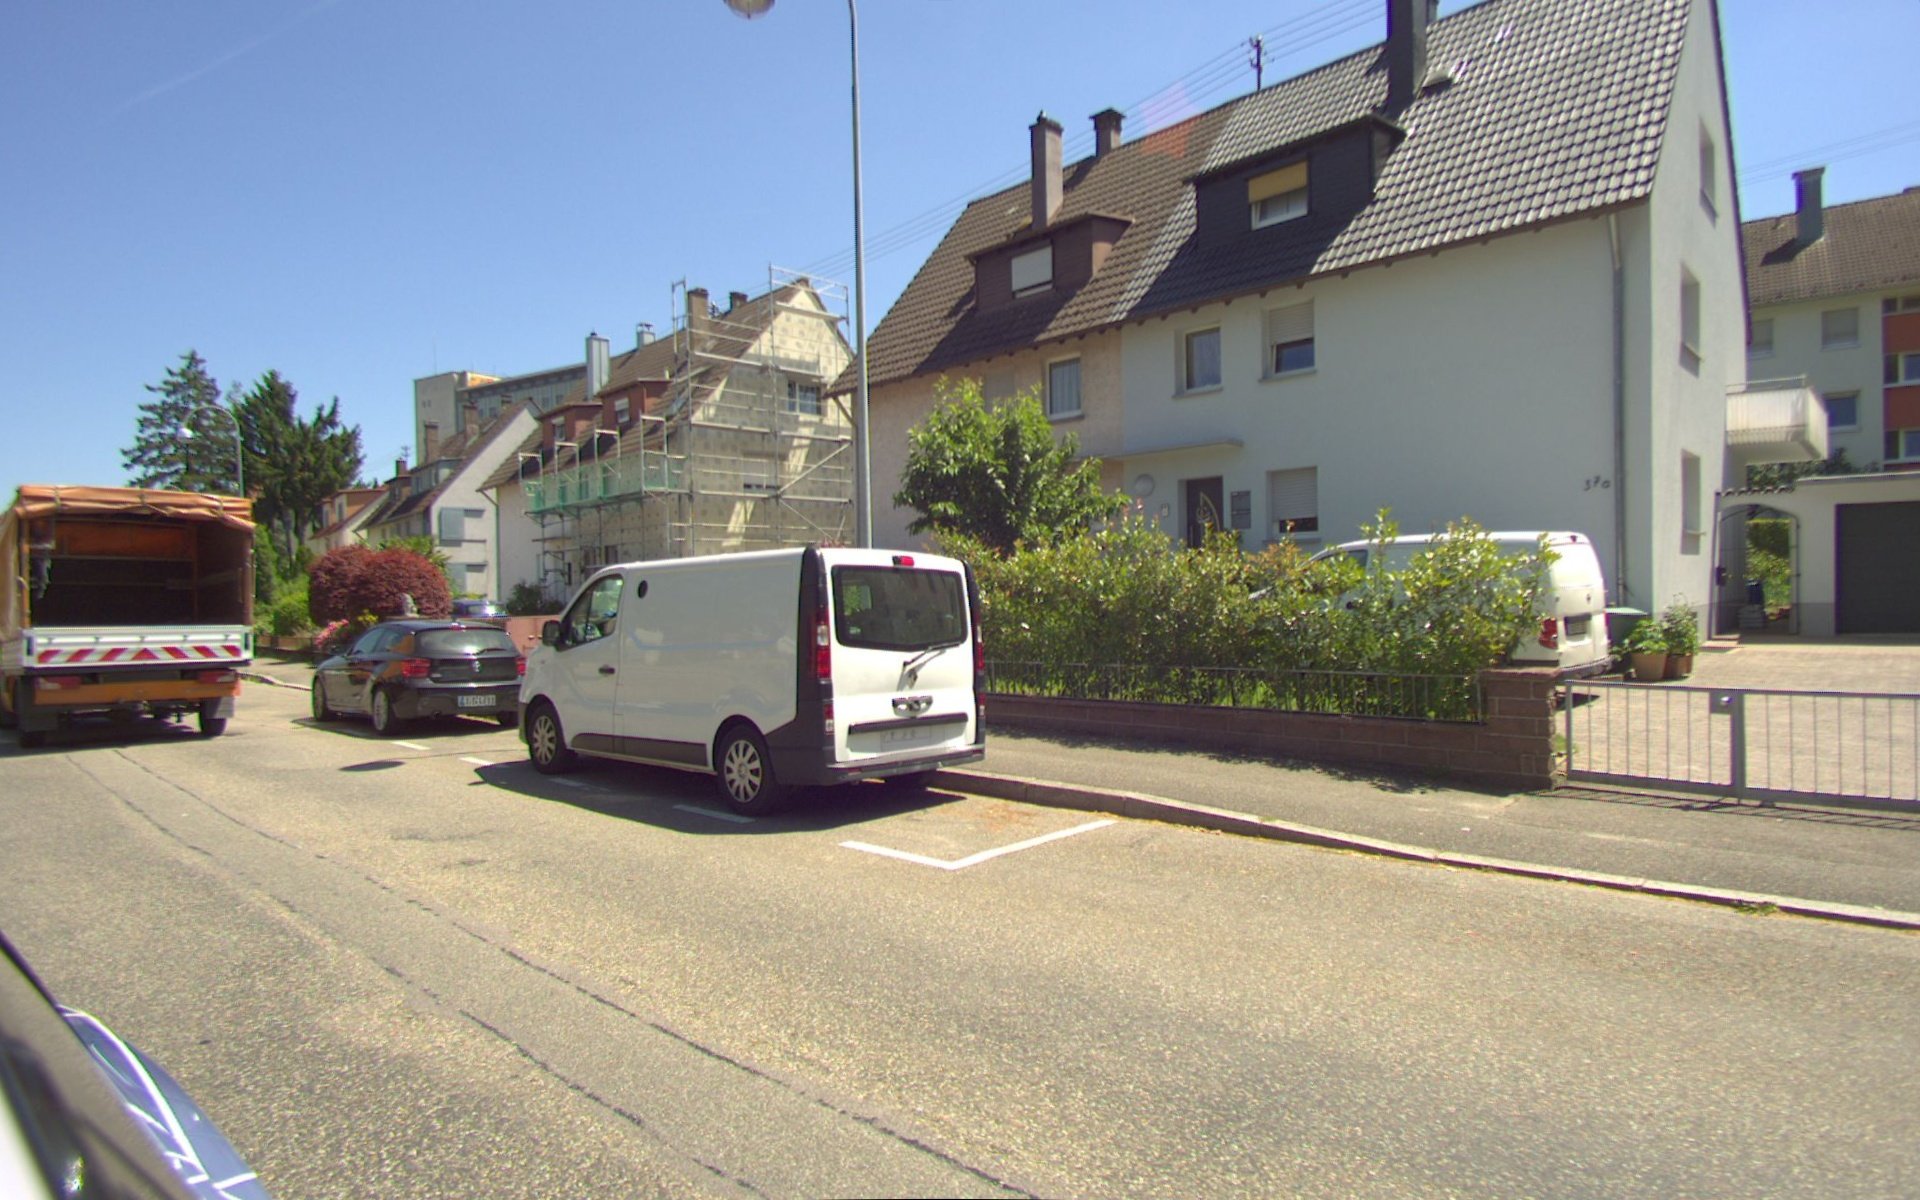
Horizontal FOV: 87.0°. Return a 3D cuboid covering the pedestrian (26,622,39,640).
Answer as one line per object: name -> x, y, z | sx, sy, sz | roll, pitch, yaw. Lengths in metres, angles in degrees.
pedestrian -> -85.360, 2.870, 93.173 | 0.605, 1.628, 0.753 | 1, -1, -22

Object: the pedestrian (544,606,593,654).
pedestrian -> -11.202, 0.843, 28.972 | 1.208, 1.273, 0.697 | 0, 3, 34

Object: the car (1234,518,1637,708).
car -> 5.510, 0.105, 12.135 | 1.693, 1.884, 4.007 | -3, 2, -40

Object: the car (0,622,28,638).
car -> -95.305, 3.054, 101.893 | 1.735, 1.525, 3.749 | 3, -2, -37

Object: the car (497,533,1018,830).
car -> -2.024, 0.569, 8.850 | 4.979, 1.895, 1.866 | -2, -1, 42

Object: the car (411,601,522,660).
car -> -14.864, 0.897, 30.388 | 4.002, 1.525, 1.667 | -2, 4, 45

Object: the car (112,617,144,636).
car -> -63.707, 2.015, 77.531 | 1.709, 1.427, 4.009 | 1, -1, -36

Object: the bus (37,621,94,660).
bus -> -81.919, 3.604, 92.885 | 2.865, 3.103, 12.590 | -1, 0, -37

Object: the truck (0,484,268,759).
truck -> -11.227, 0.269, 13.292 | 5.658, 2.851, 2.347 | -1, -1, 43

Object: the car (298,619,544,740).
car -> -7.423, 0.975, 13.753 | 4.236, 1.395, 1.680 | -2, -2, 43
